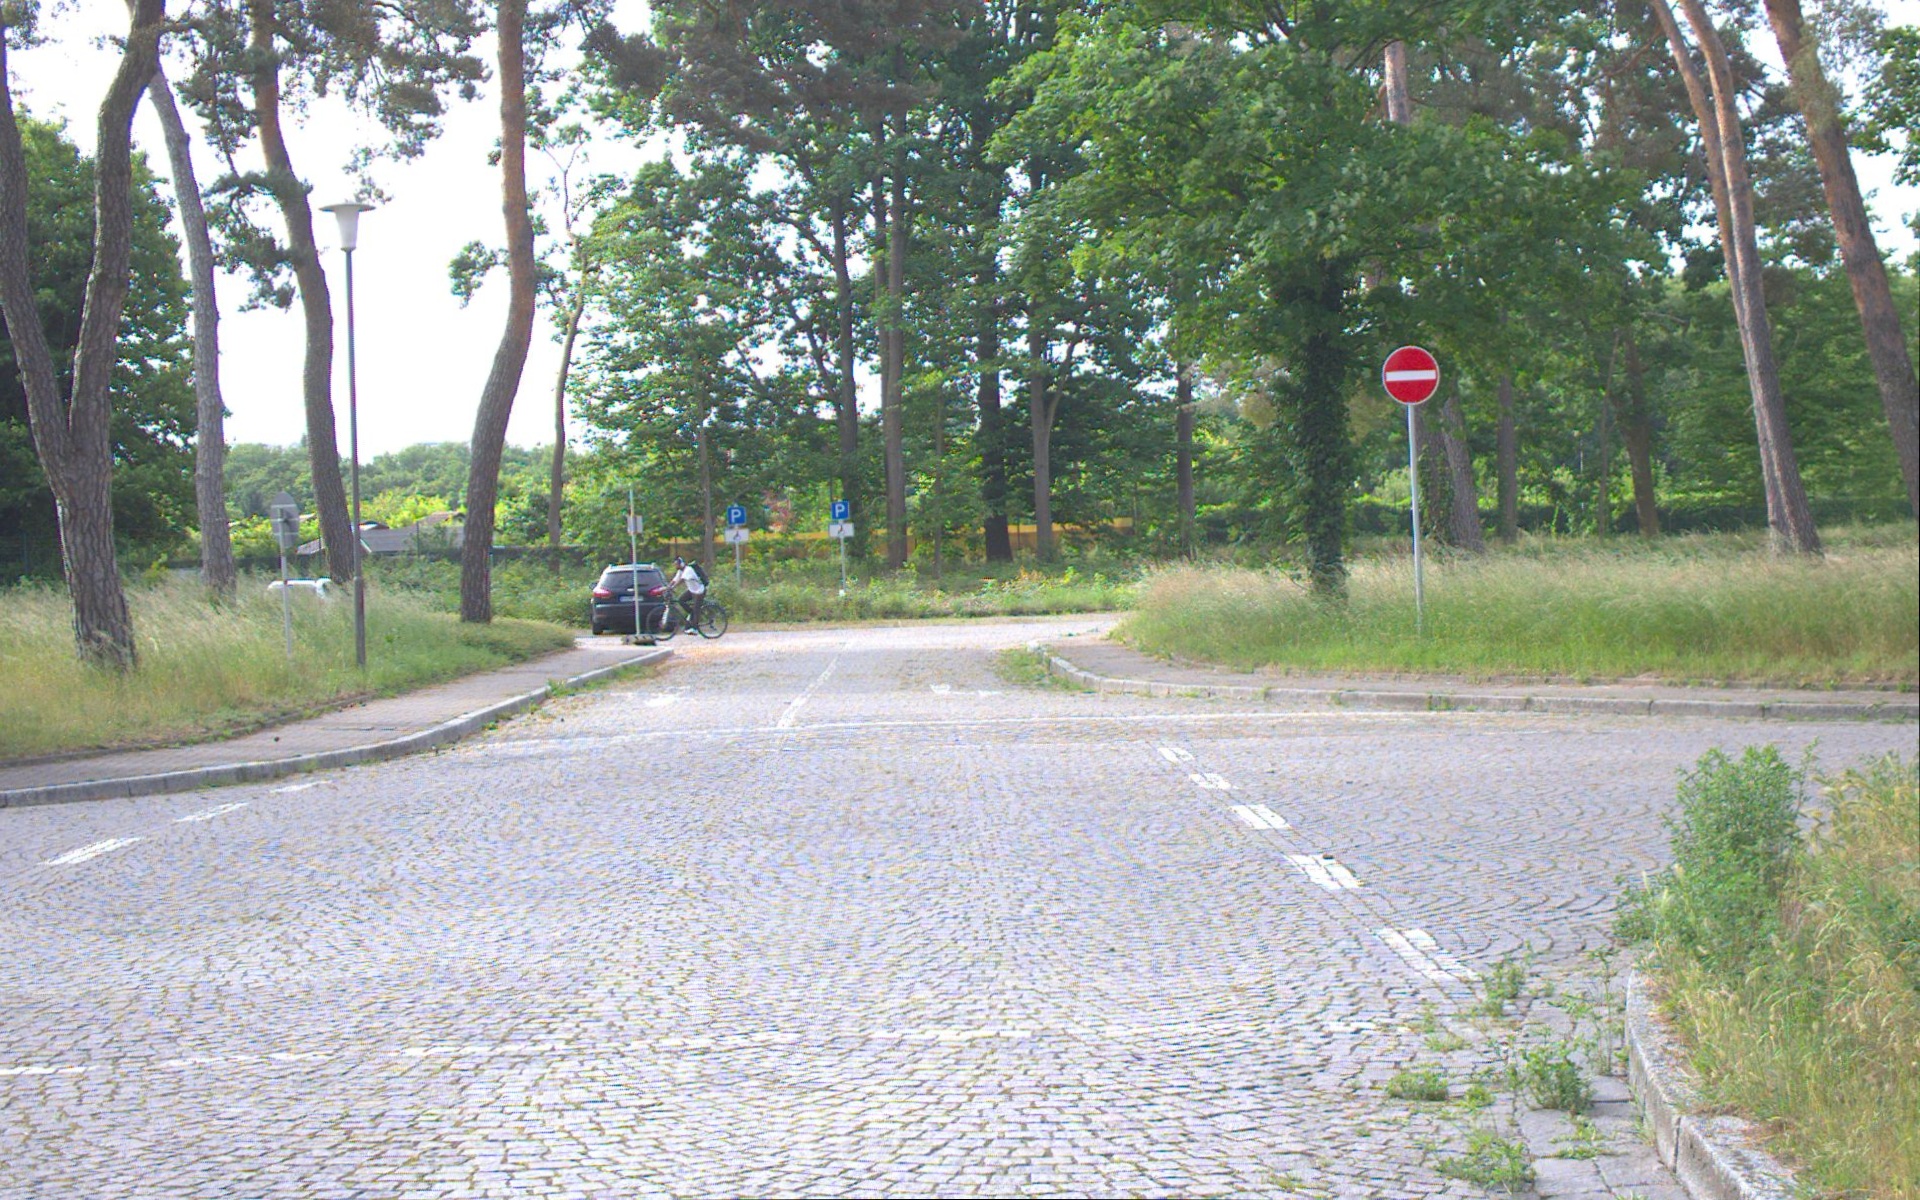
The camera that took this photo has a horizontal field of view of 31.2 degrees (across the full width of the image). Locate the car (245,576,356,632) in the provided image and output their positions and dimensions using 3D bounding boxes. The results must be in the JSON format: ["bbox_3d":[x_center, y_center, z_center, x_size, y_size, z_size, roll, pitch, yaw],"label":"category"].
[{"bbox_3d":[-14.927,0.073,77.964,1.689,1.152,4.000,-2,1,0],"label":"car"}]

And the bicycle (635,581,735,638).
[{"bbox_3d":[-5.656,0.186,70.744,1.986,1.091,0.810,-2,1,-4],"label":"bicycle"}]

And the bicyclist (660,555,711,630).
[{"bbox_3d":[-5.641,-0.160,70.762,0.974,1.505,0.807,-2,1,-4],"label":"bicyclist"}]

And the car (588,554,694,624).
[{"bbox_3d":[-7.128,-0.272,77.160,1.993,1.503,4.000,0,1,0],"label":"car"}]
